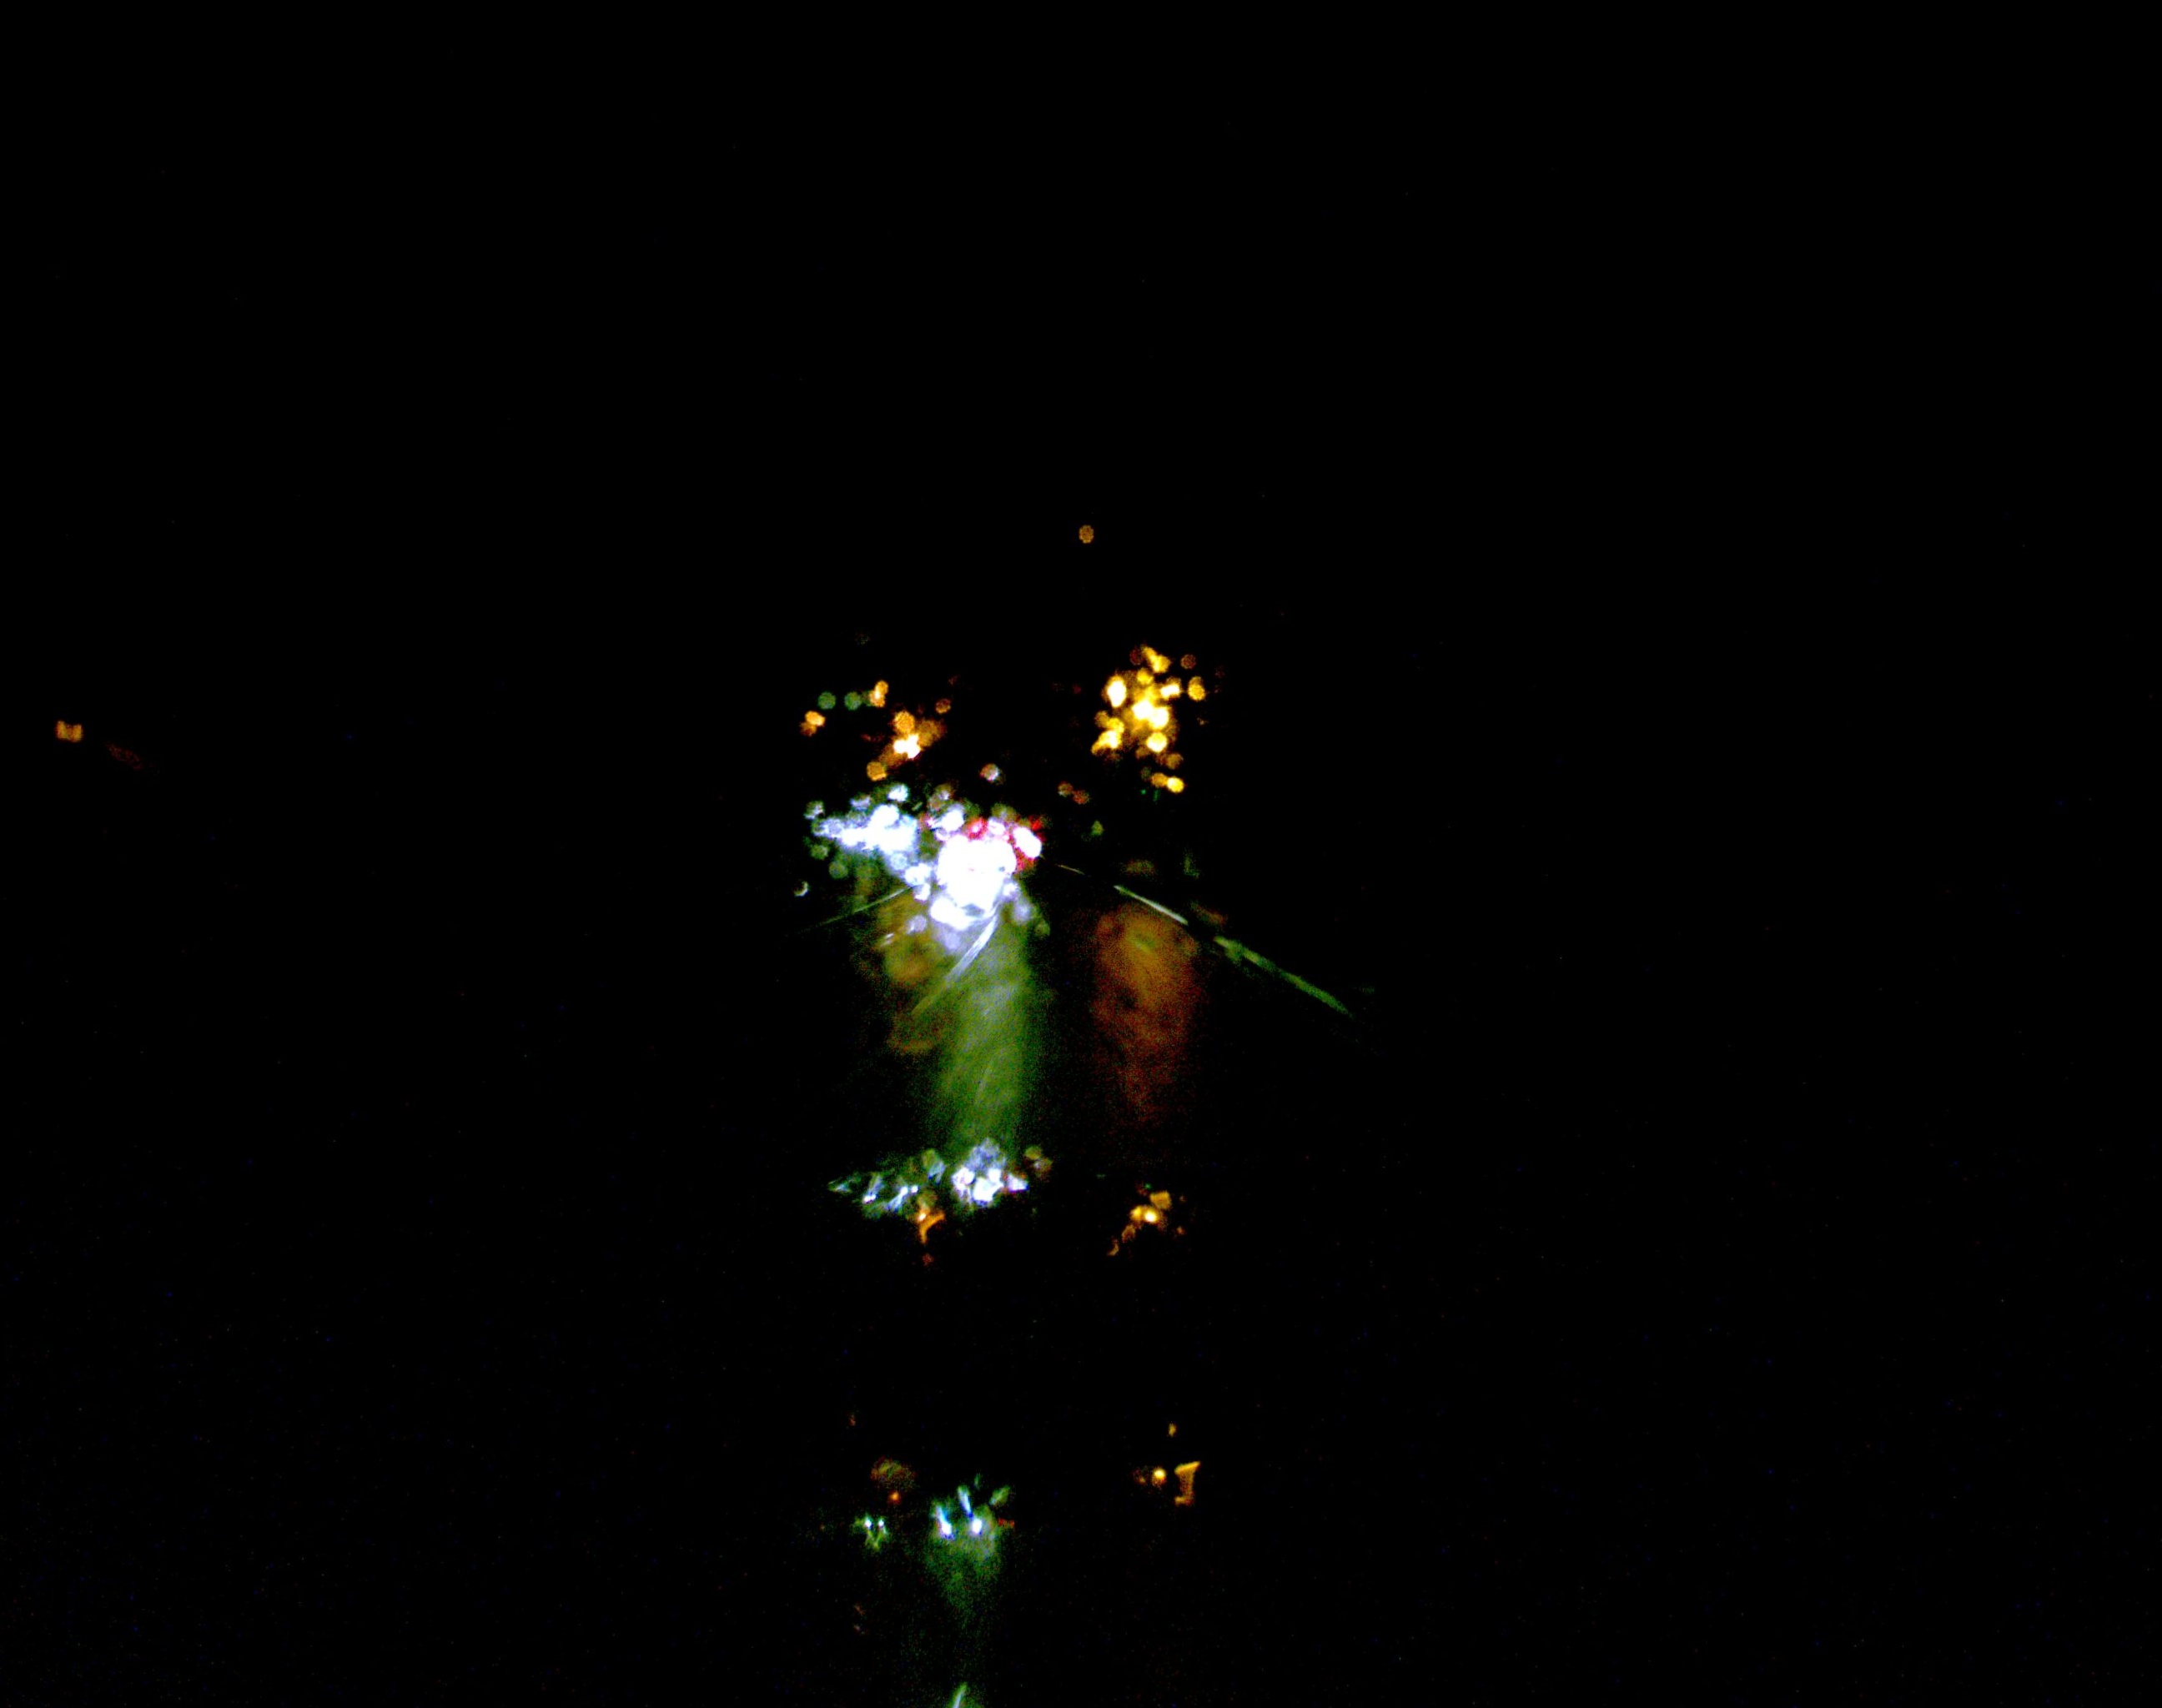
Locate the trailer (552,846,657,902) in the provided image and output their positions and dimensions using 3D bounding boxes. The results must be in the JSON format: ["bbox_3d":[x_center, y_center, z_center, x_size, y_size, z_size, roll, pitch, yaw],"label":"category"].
[{"bbox_3d":[-16.424,0.608,28.299,1.814,1.677,4.085,-3,2,-11],"label":"trailer"}]

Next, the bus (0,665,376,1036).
[{"bbox_3d":[-13.290,-0.034,9.760,2.903,3.868,12.970,0,0,-20],"label":"bus"}]

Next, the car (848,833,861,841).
[{"bbox_3d":[-41.409,-3.125,148.713,1.643,1.509,4.062,-2,2,-25],"label":"car"}]

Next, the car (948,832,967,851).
[{"bbox_3d":[-14.105,-1.400,93.222,1.994,2.014,3.985,1,-1,-10],"label":"car"}]

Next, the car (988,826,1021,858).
[{"bbox_3d":[-6.320,-1.058,66.628,2.536,2.497,5.701,-1,2,-7],"label":"car"}]

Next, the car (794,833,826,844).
[{"bbox_3d":[-46.394,-2.656,139.214,4.938,1.734,1.983,-2,2,-27],"label":"car"}]

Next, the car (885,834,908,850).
[{"bbox_3d":[-25.465,-1.622,112.334,2.005,2.014,4.802,2,-1,-28],"label":"car"}]

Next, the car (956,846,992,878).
[{"bbox_3d":[-5.582,0.405,42.991,1.633,1.510,4.110,-2,0,-5],"label":"car"}]
